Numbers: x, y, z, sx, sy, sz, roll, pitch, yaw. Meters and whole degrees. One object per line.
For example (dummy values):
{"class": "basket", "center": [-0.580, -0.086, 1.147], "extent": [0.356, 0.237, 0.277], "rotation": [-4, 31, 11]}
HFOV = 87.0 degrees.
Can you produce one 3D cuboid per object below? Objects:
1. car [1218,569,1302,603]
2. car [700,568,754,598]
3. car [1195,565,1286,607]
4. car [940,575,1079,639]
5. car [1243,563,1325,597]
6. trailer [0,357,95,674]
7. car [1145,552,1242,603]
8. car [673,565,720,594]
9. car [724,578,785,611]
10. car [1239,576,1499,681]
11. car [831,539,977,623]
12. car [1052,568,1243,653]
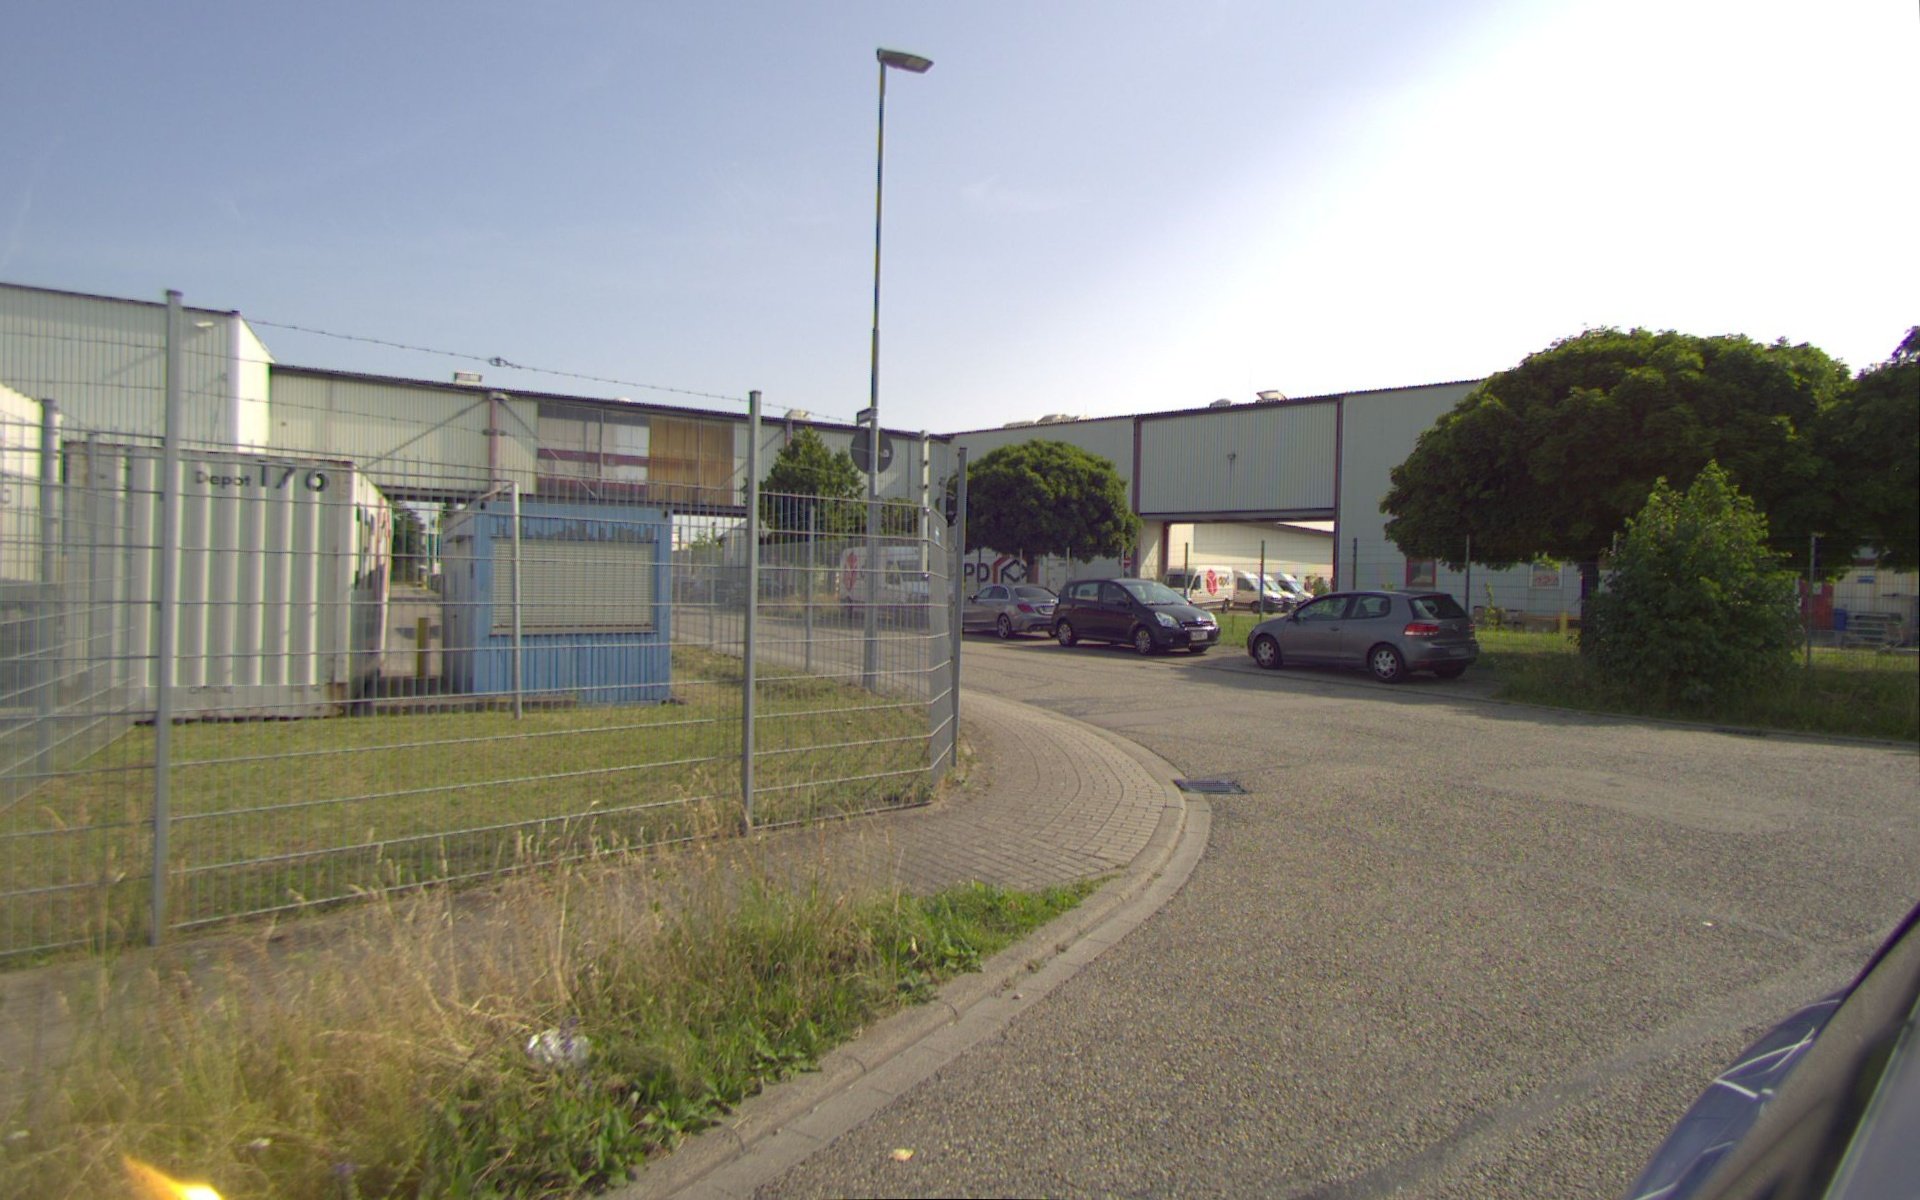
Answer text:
{"class": "car", "center": [19.425, -0.928, 65.625], "extent": [4.834, 1.988, 1.901], "rotation": [3, 2, 44]}
{"class": "car", "center": [-11.568, -0.865, 50.133], "extent": [1.692, 1.404, 3.791], "rotation": [1, 1, -27]}
{"class": "car", "center": [16.564, -0.876, 59.950], "extent": [4.834, 2.317, 1.901], "rotation": [3, 2, 44]}
{"class": "car", "center": [1.233, 0.109, 27.369], "extent": [1.693, 1.536, 4.499], "rotation": [-2, 2, -27]}
{"class": "car", "center": [21.665, -1.334, 67.760], "extent": [4.834, 2.110, 1.901], "rotation": [3, 2, 44]}
{"class": "trailer", "center": [-13.090, -1.029, 11.887], "extent": [2.720, 3.941, 8.574], "rotation": [-2, 2, -29]}
{"class": "car", "center": [12.466, -1.201, 53.617], "extent": [2.165, 2.548, 6.603], "rotation": [2, 2, 41]}
{"class": "car", "center": [-14.414, -1.134, 55.211], "extent": [1.692, 1.543, 3.791], "rotation": [1, 1, -27]}
{"class": "car", "center": [-9.231, -0.273, 45.260], "extent": [1.692, 1.404, 3.791], "rotation": [1, 1, -27]}
{"class": "car", "center": [6.896, 0.385, 17.475], "extent": [1.693, 1.542, 3.966], "rotation": [-2, 2, -29]}
{"class": "car", "center": [-2.061, -0.674, 34.104], "extent": [2.163, 2.513, 6.858], "rotation": [-2, 2, -28]}
{"class": "car", "center": [4.024, 0.157, 22.406], "extent": [1.840, 1.645, 4.273], "rotation": [-2, 2, -29]}
